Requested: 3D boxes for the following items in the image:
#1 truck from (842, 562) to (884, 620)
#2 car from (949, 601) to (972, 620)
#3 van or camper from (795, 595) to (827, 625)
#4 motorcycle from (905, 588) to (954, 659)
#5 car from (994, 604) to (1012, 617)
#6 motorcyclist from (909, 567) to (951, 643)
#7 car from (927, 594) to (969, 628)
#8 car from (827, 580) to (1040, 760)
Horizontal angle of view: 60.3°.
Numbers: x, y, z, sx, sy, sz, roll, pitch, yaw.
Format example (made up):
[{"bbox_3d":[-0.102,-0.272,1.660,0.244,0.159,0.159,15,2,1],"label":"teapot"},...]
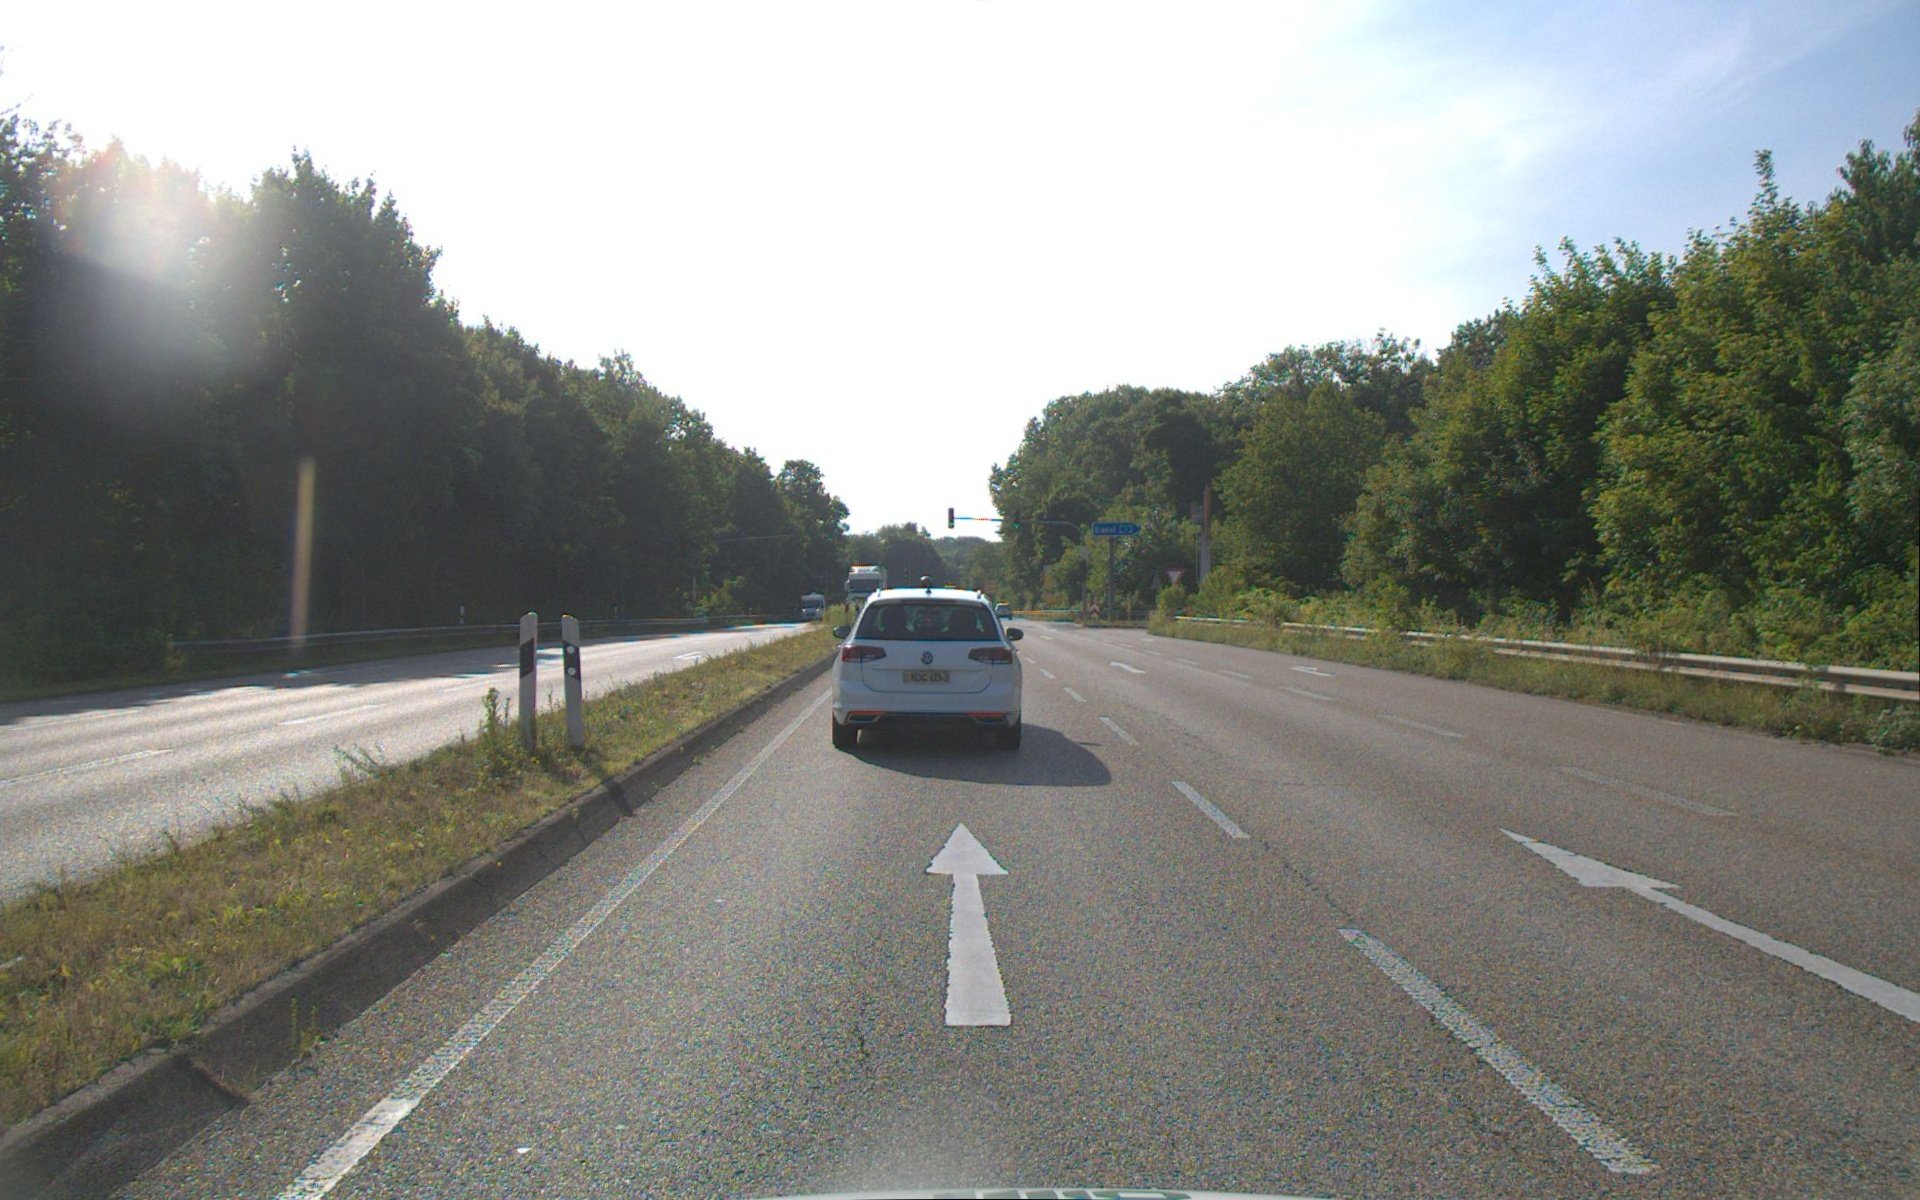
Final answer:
[{"bbox_3d":[-7.109,-0.618,121.416,2.832,4.067,6.719,1,0,-2],"label":"truck"},{"bbox_3d":[0.020,0.833,128.217,1.725,1.404,3.971,1,0,1],"label":"car"},{"bbox_3d":[-14.603,0.998,162.318,2.364,2.758,6.436,-3,0,0],"label":"van or camper"},{"bbox_3d":[-0.654,0.500,36.964,0.890,1.478,2.689,-3,0,2],"label":"motorcycle"},{"bbox_3d":[4.474,1.096,172.276,1.725,1.404,3.971,1,0,1],"label":"car"},{"bbox_3d":[-0.660,0.117,36.964,0.865,1.644,1.290,1,0,2],"label":"motorcyclist"},{"bbox_3d":[-0.494,0.483,71.212,1.725,1.404,3.971,1,0,1],"label":"car"},{"bbox_3d":[-0.226,0.577,16.771,1.831,1.548,4.834,0,1,0],"label":"car"}]
